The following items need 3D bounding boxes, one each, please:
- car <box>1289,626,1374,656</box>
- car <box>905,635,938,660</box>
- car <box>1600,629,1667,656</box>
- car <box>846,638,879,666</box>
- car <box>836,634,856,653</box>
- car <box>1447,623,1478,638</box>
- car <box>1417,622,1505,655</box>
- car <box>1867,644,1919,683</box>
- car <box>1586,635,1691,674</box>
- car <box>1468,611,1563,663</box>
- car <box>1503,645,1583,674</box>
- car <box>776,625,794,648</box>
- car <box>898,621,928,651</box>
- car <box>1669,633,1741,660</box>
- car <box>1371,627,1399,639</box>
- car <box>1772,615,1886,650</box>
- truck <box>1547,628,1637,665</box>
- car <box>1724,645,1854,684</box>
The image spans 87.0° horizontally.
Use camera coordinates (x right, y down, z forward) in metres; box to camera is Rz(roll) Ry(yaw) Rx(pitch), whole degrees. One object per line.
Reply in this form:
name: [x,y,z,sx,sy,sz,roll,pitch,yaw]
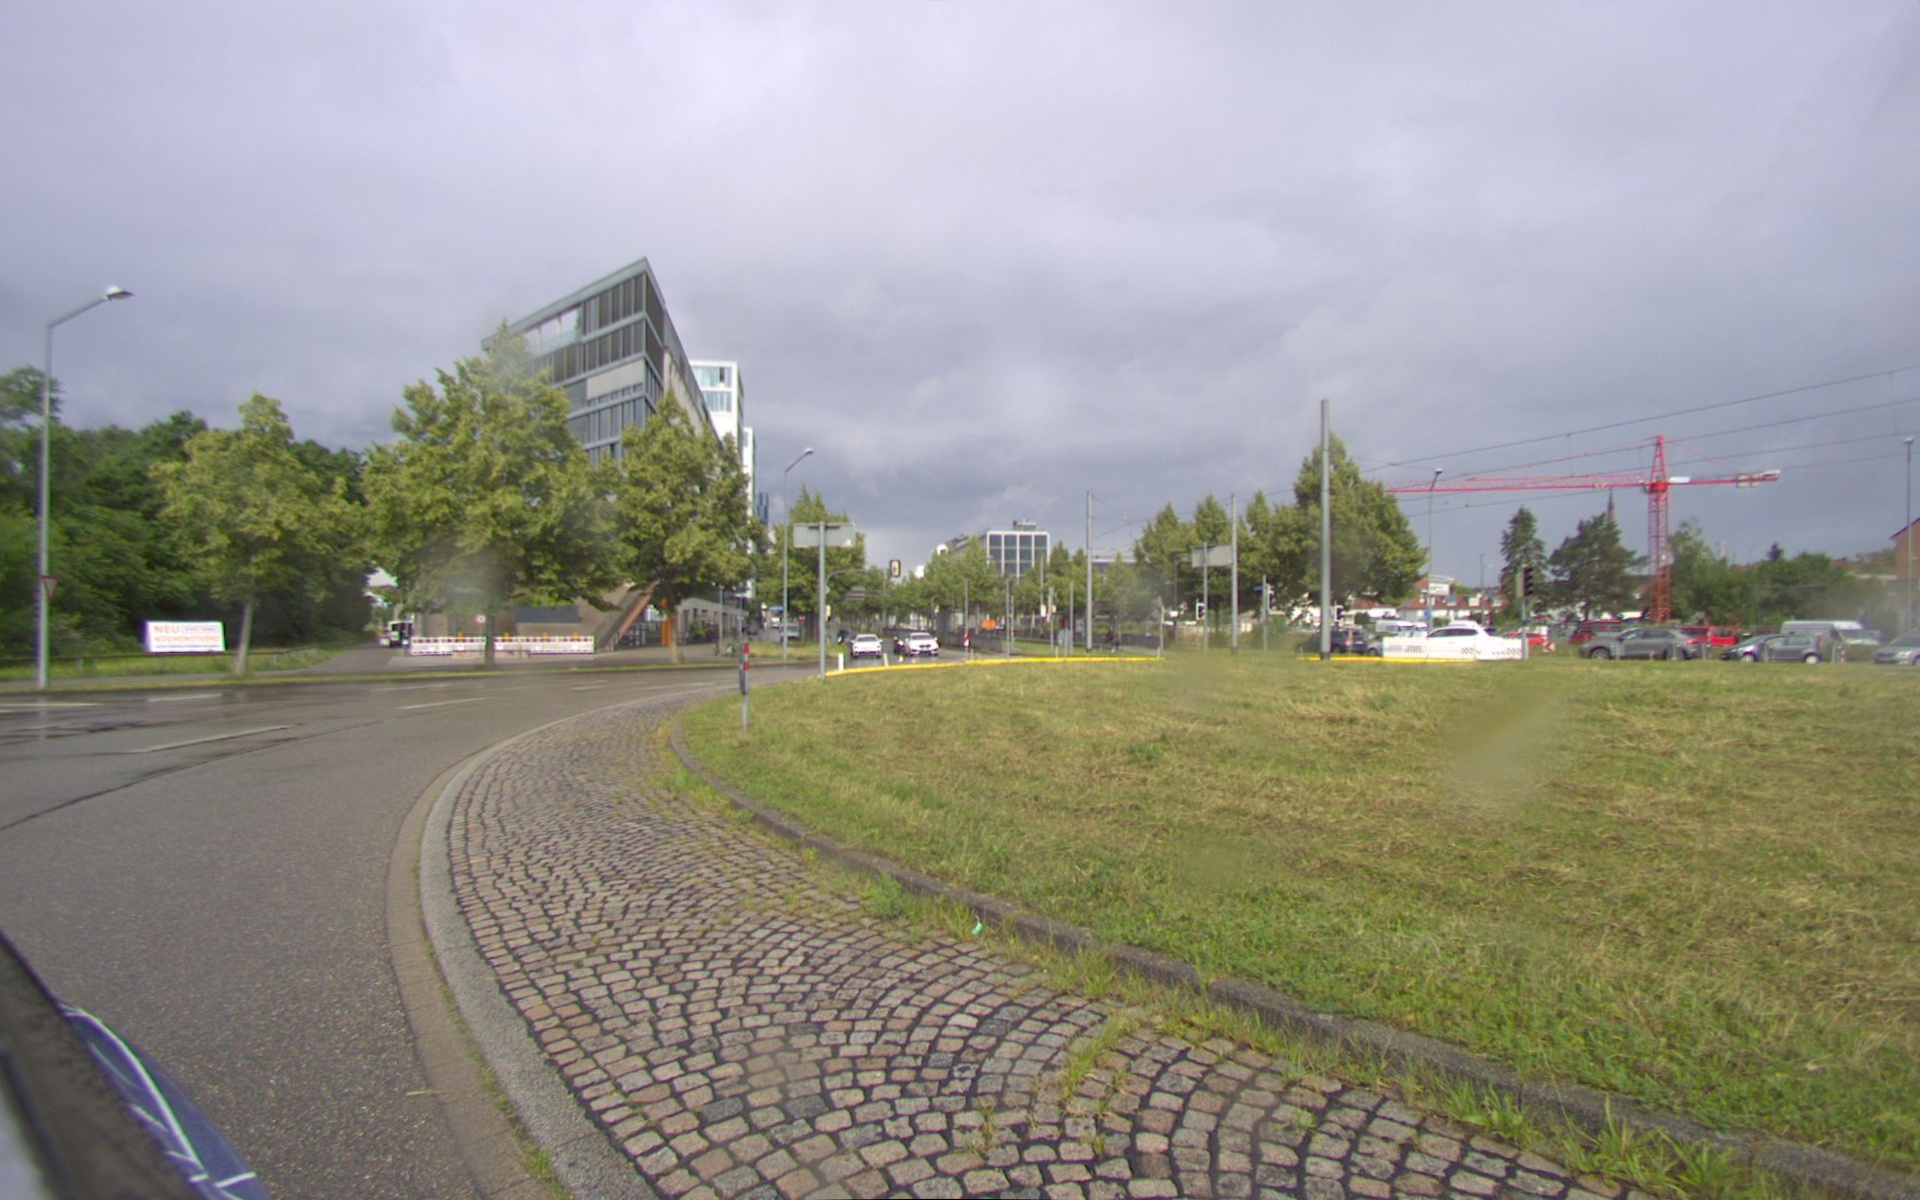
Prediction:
car: [20.084,2.191,54.829,1.772,1.529,4.011,1,-2,-33]
car: [-2.455,2.927,63.226,1.700,1.519,3.910,0,-2,-7]
car: [49.409,3.105,74.326,1.828,1.713,4.008,1,0,-9]
car: [-6.180,3.287,63.728,1.837,1.685,4.478,0,-3,-8]
car: [-11.465,4.373,101.531,1.837,1.758,4.092,0,-3,-7]
car: [61.390,3.724,123.747,1.475,1.736,3.608,0,-2,-11]
car: [24.091,1.847,48.727,1.476,1.522,3.506,0,-2,-39]
car: [41.057,2.693,43.330,3.441,1.572,1.554,0,-1,-13]
car: [29.332,2.319,43.782,3.671,1.572,1.554,-1,-2,37]
car: [28.885,1.921,52.671,3.998,2.587,1.773,-1,-3,41]
car: [36.530,3.689,63.478,4.001,1.697,1.971,-2,-2,44]
car: [-18.912,4.010,109.495,1.837,2.378,4.477,0,-3,-7]
car: [-3.459,2.594,73.365,1.970,2.029,4.004,0,-2,-5]
car: [52.259,3.249,71.098,1.900,1.713,4.005,0,0,-5]
car: [52.918,4.114,126.131,1.525,1.572,3.506,0,-2,-9]
car: [59.140,2.159,69.070,2.012,2.101,6.272,0,0,-4]
truck: [44.106,3.196,70.841,2.364,2.228,6.101,0,0,0]
car: [36.452,2.821,44.609,3.967,1.597,1.787,-1,-1,18]
